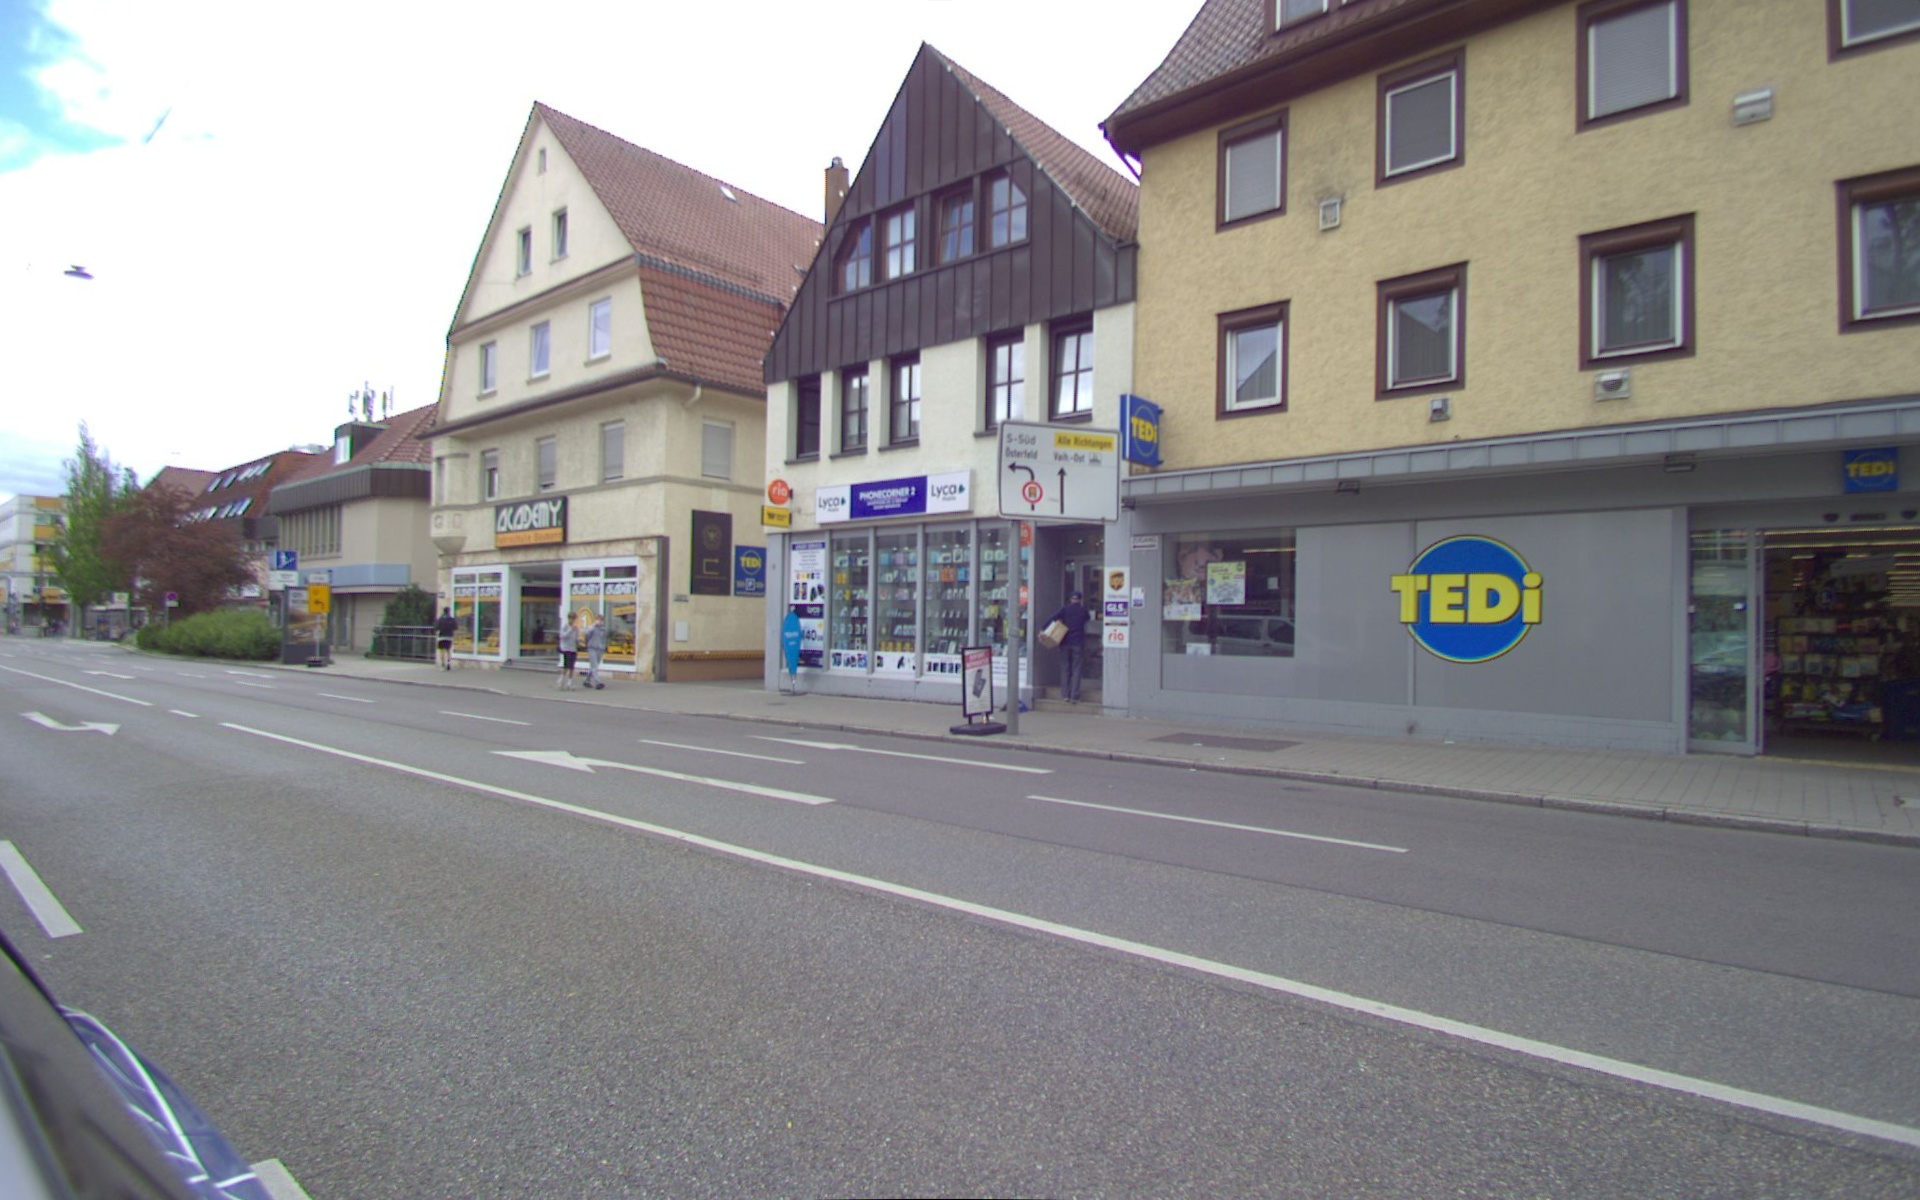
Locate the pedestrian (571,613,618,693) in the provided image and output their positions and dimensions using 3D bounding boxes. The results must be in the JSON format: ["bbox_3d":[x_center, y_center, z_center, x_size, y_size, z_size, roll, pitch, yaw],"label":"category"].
[{"bbox_3d":[-8.068,1.155,22.350,0.709,1.683,0.680,-1,1,41],"label":"pedestrian"}]

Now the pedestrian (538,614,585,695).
[{"bbox_3d":[-8.597,1.161,21.821,0.742,1.703,0.680,-1,-1,41],"label":"pedestrian"}]

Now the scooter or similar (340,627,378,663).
[{"bbox_3d":[-24.240,1.803,40.828,0.536,1.404,1.182,-1,-2,26],"label":"scooter or similar"}]

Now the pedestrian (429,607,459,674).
[{"bbox_3d":[-14.973,1.174,29.374,0.592,1.903,0.544,-1,0,37],"label":"pedestrian"}]

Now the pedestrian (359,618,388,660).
[{"bbox_3d":[-25.097,1.648,43.272,0.837,1.772,0.825,-1,-2,41],"label":"pedestrian"}]

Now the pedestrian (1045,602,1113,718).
[{"bbox_3d":[1.835,0.907,15.664,0.775,1.726,0.679,-1,-1,42],"label":"pedestrian"}]
